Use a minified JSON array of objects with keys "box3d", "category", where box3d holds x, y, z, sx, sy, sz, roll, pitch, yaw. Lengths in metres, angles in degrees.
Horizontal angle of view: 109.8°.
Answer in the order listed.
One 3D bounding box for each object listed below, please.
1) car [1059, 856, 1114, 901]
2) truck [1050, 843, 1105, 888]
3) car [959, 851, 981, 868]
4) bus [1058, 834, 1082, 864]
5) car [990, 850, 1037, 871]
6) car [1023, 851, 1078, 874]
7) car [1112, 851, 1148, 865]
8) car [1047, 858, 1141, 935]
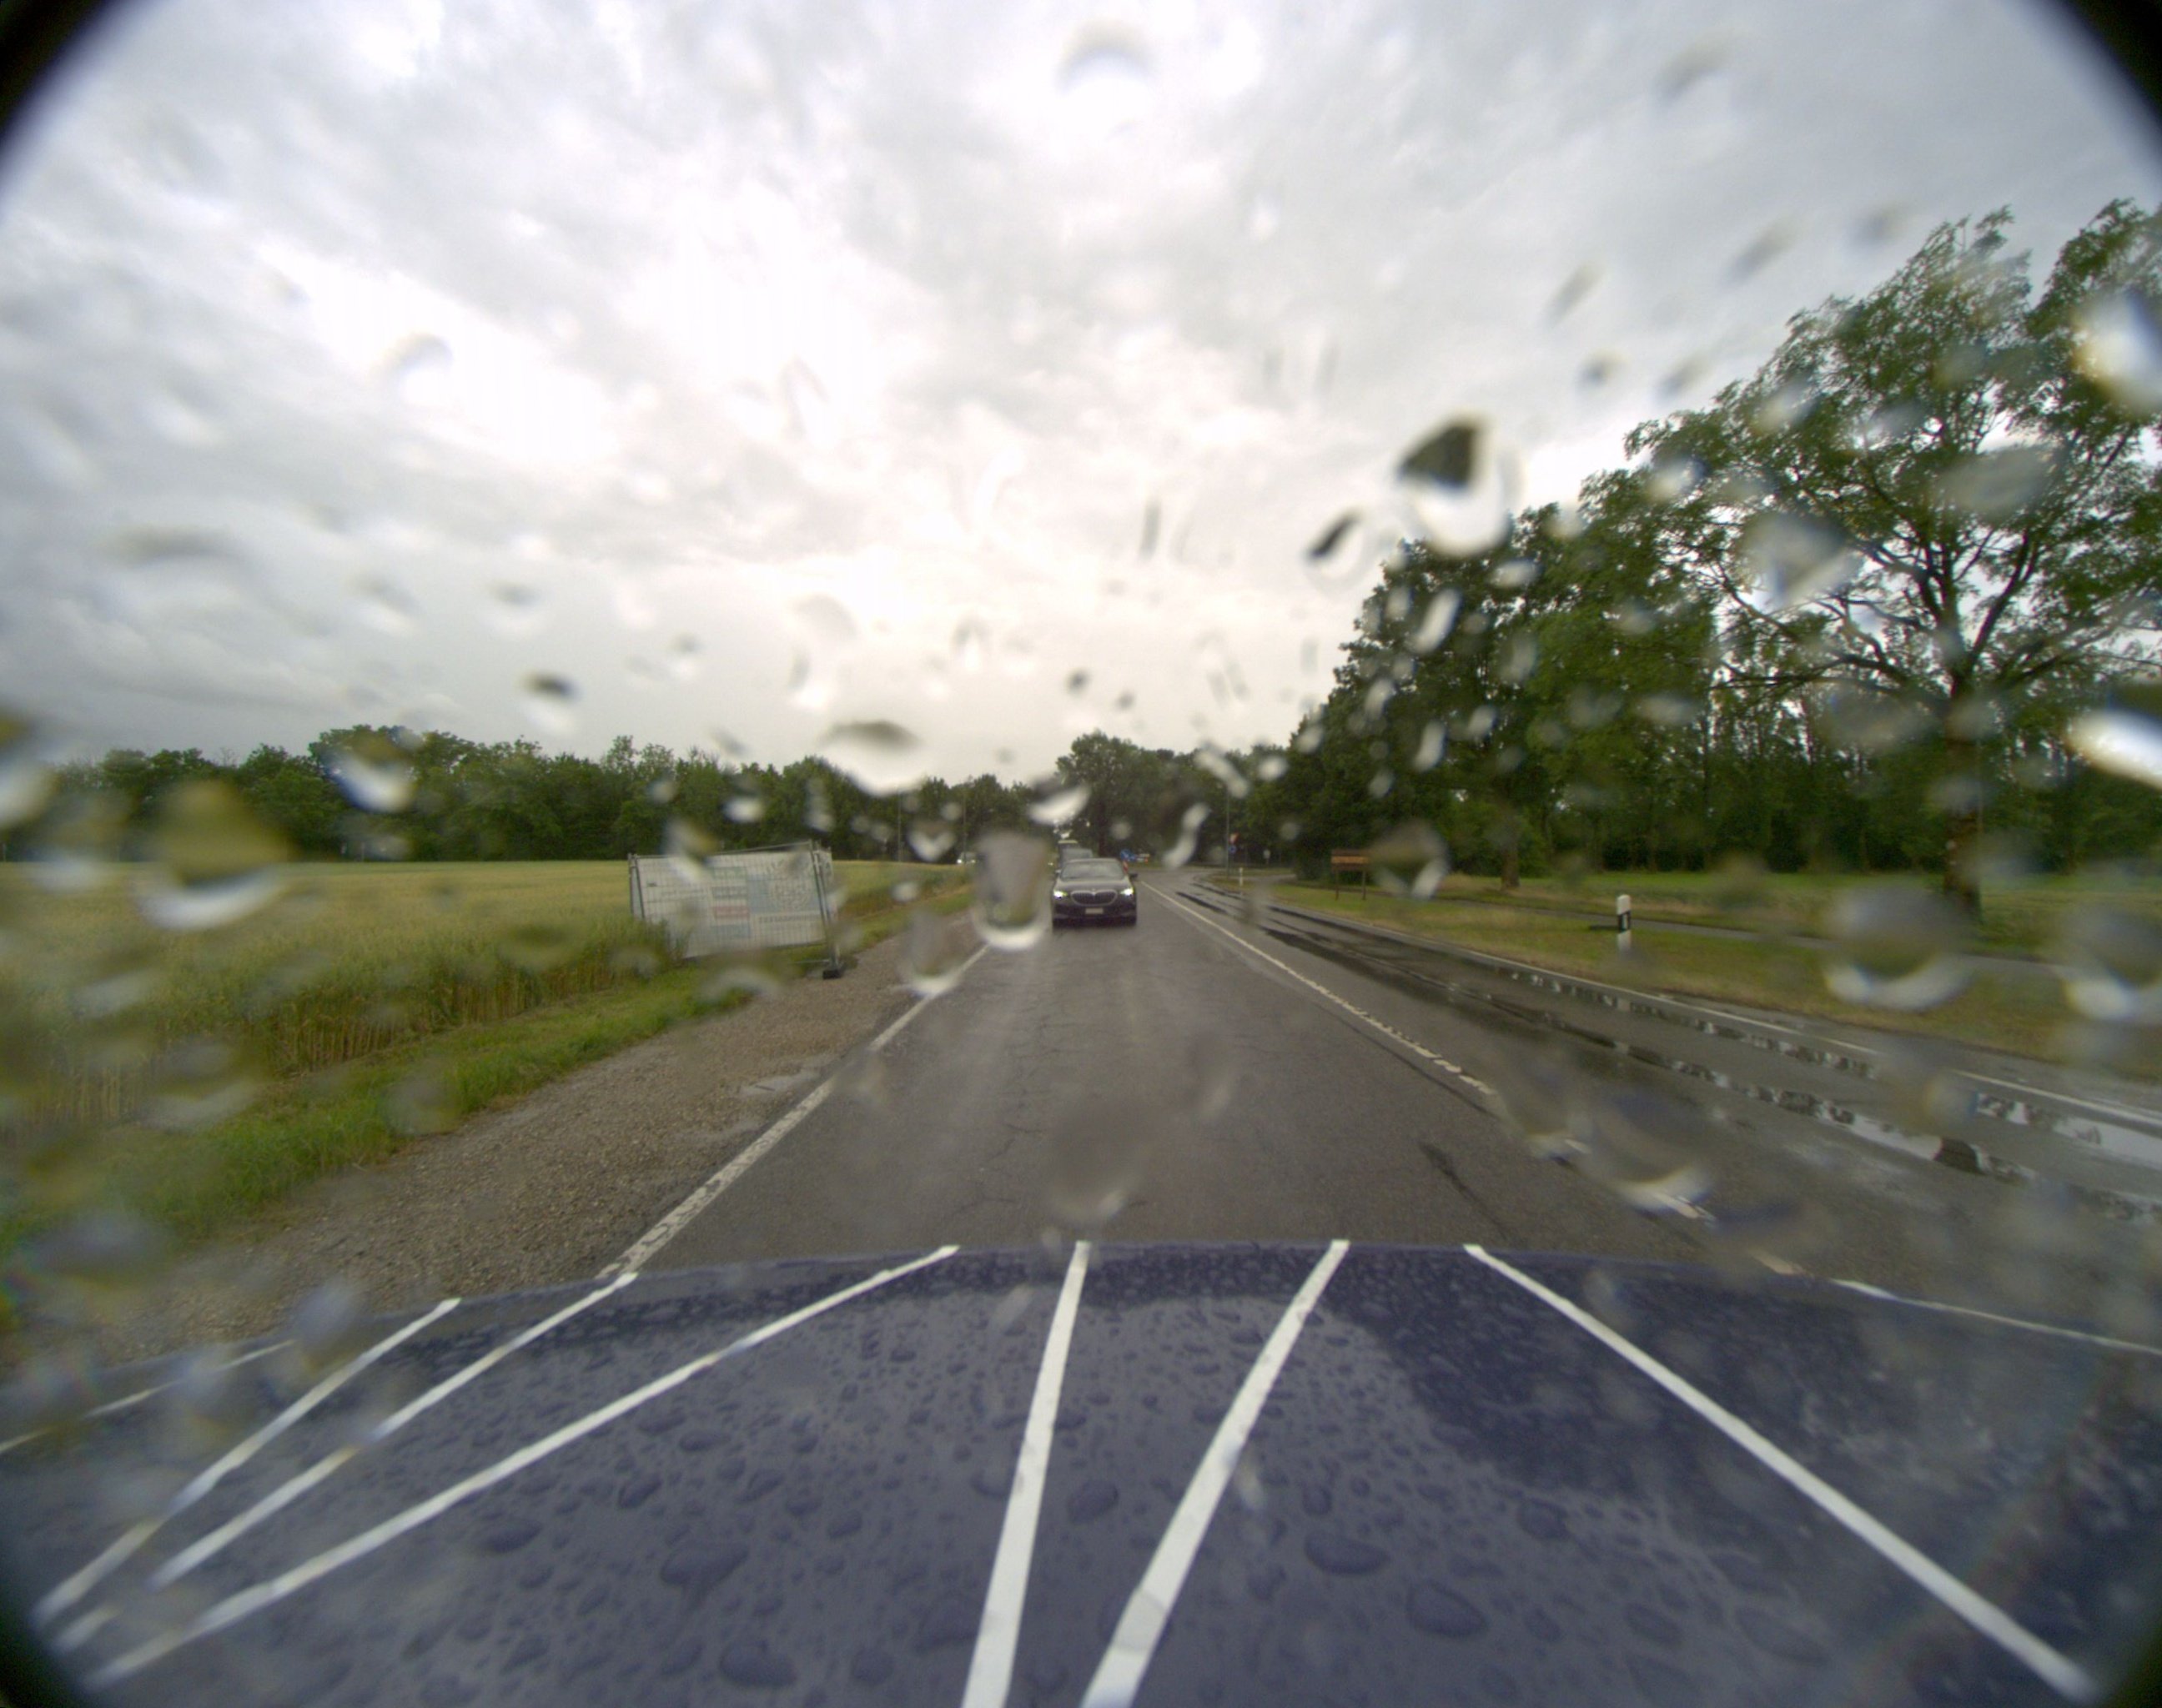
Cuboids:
[{"box3d":[0.159,0.874,28.671,1.892,1.482,4.191,-2,0,-1],"category":"car"},{"box3d":[-0.287,0.529,41.036,2.077,2.050,5.763,-3,2,-8],"category":"truck"},{"box3d":[-10.323,0.500,70.512,1.893,1.522,4.498,-1,0,-9],"category":"car"},{"box3d":[-1.347,-0.590,100.038,2.996,3.665,14.293,1,0,0],"category":"bus"},{"box3d":[-5.280,0.509,59.015,1.896,1.522,4.491,-2,0,-30],"category":"car"},{"box3d":[-2.186,0.578,53.302,1.895,1.522,5.244,-2,0,-25],"category":"car"},{"box3d":[5.587,0.445,86.663,3.723,1.489,1.685,1,0,36],"category":"car"},{"box3d":[0.262,0.882,17.607,1.892,1.484,4.035,-1,0,0],"category":"car"}]
